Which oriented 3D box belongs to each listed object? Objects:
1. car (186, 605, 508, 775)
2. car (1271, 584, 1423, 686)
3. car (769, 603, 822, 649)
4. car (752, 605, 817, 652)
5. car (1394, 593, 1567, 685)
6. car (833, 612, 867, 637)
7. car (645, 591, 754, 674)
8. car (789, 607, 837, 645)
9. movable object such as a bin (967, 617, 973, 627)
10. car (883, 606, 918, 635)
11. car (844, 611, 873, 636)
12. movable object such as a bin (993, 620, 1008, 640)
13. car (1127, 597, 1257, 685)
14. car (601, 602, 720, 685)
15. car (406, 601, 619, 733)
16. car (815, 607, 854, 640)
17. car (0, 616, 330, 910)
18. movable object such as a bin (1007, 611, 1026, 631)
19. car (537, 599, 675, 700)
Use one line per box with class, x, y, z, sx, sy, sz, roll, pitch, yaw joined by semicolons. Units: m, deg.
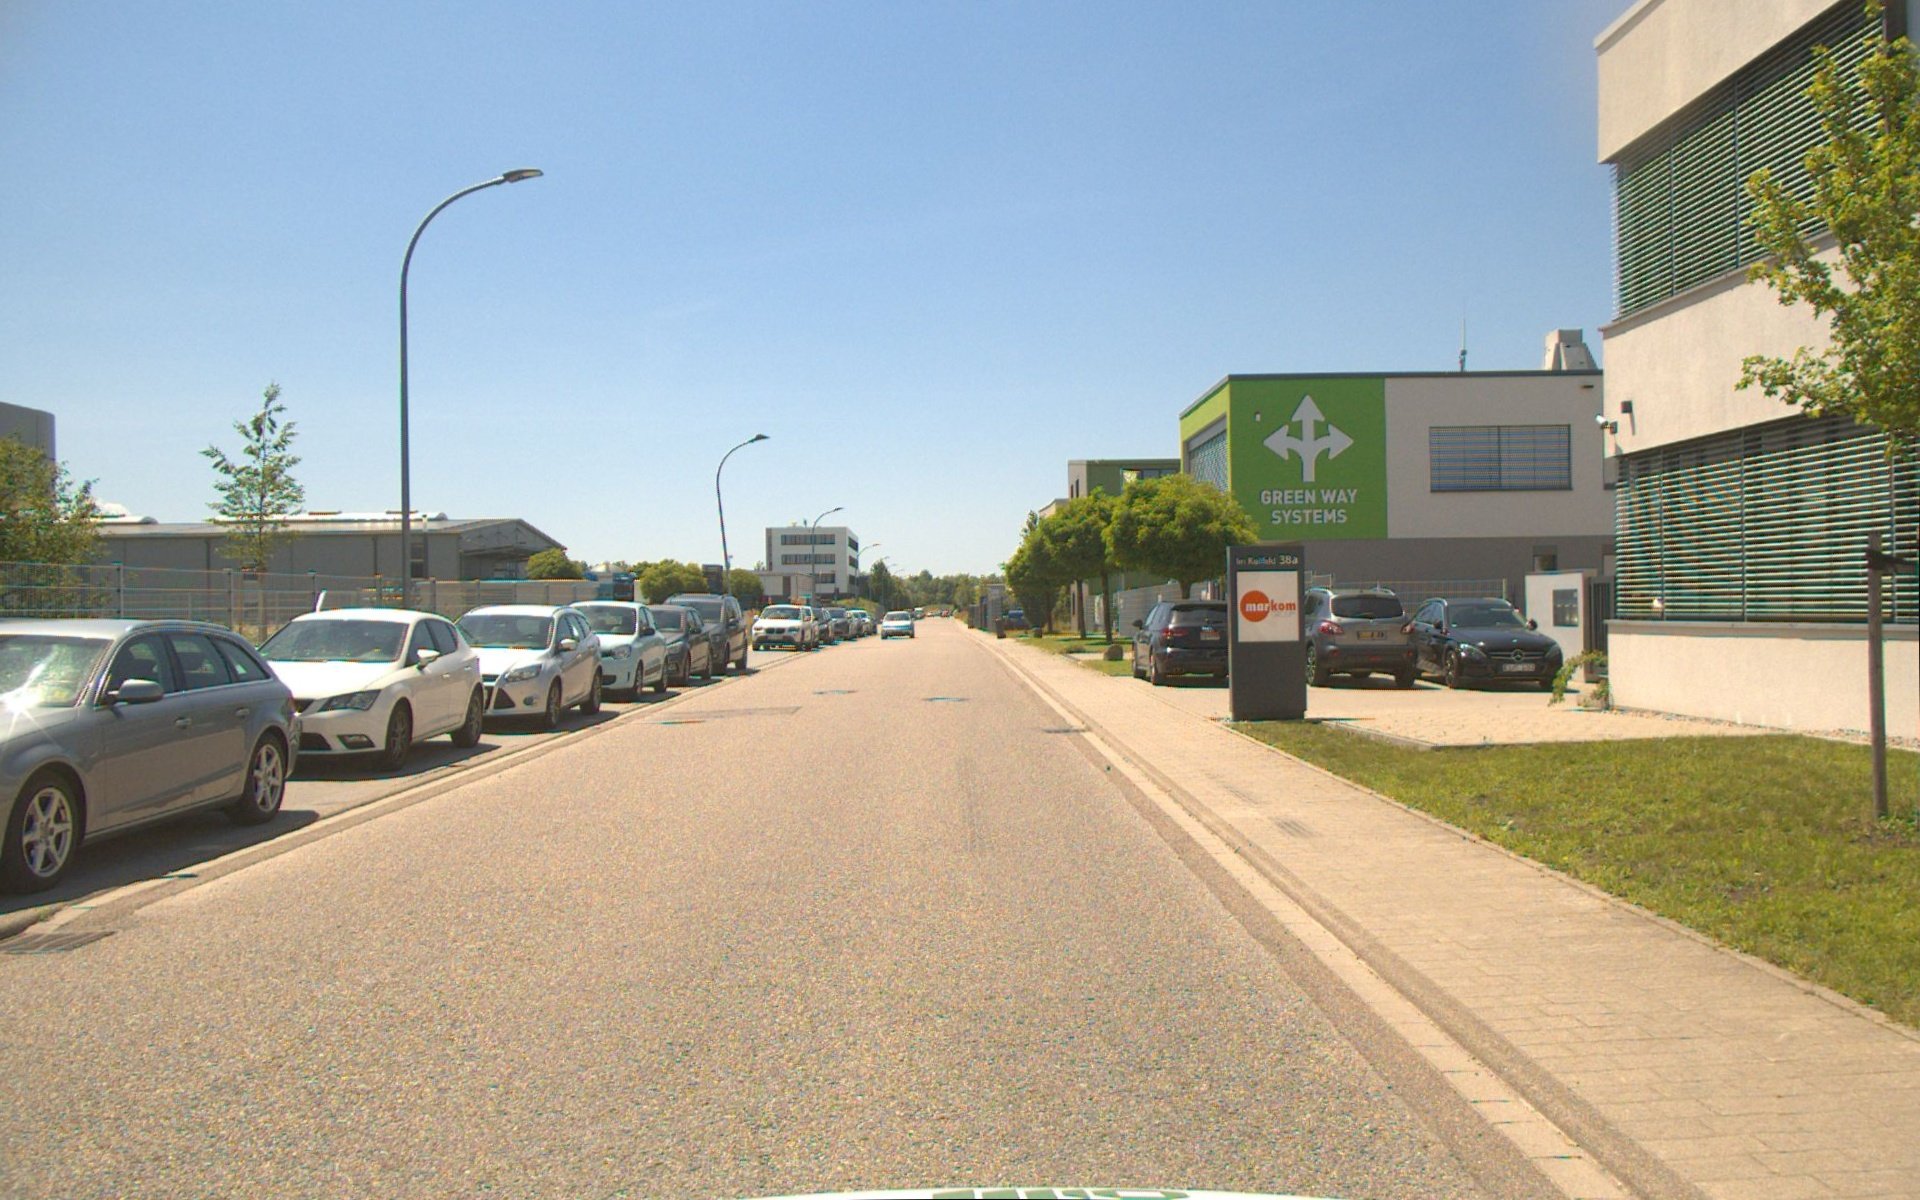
car;-5.933;0.794;16.603;1.668;1.469;4.438;1;0;-2
car;6.688;0.583;28.977;1.688;1.661;4.021;0;0;-1
car;-6.221;0.968;63.003;1.751;1.685;3.767;0;-1;-2
car;-6.078;0.968;57.679;1.750;1.569;4.365;0;-1;1
car;8.897;0.632;28.612;1.688;1.475;4.021;0;0;-1
car;-6.662;1.470;100.141;1.819;1.507;4.228;0;-1;-1
car;-5.827;0.709;37.511;1.766;1.750;4.621;0;0;-1
car;-6.238;1.093;70.425;1.727;1.544;4.378;0;-1;-1
movable object such as a bin;1.017;2.188;166.985;0.541;0.944;0.522;-5;0;3
car;-3.173;1.060;88.755;1.669;1.436;4.783;-3;0;-1
car;-6.671;1.534;109.264;1.733;1.620;4.358;0;-1;-2
movable object such as a bin;1.925;1.424;78.658;0.540;0.944;0.522;-4;-1;9
car;4.035;0.684;29.345;1.658;1.453;4.245;0;0;-1
car;-5.852;0.813;32.730;1.601;1.527;3.971;0;0;0
car;-5.792;0.810;21.963;1.668;1.563;4.570;1;0;-2
car;-6.324;1.196;83.775;1.754;1.635;4.461;0;-1;-2
car;-5.651;0.845;10.343;1.649;1.410;4.639;0;0;0
movable object such as a bin;4.270;1.599;125.329;1.307;1.485;0.948;-1;-1;-1
car;-5.839;0.775;27.651;1.601;1.563;3.656;0;0;-2
